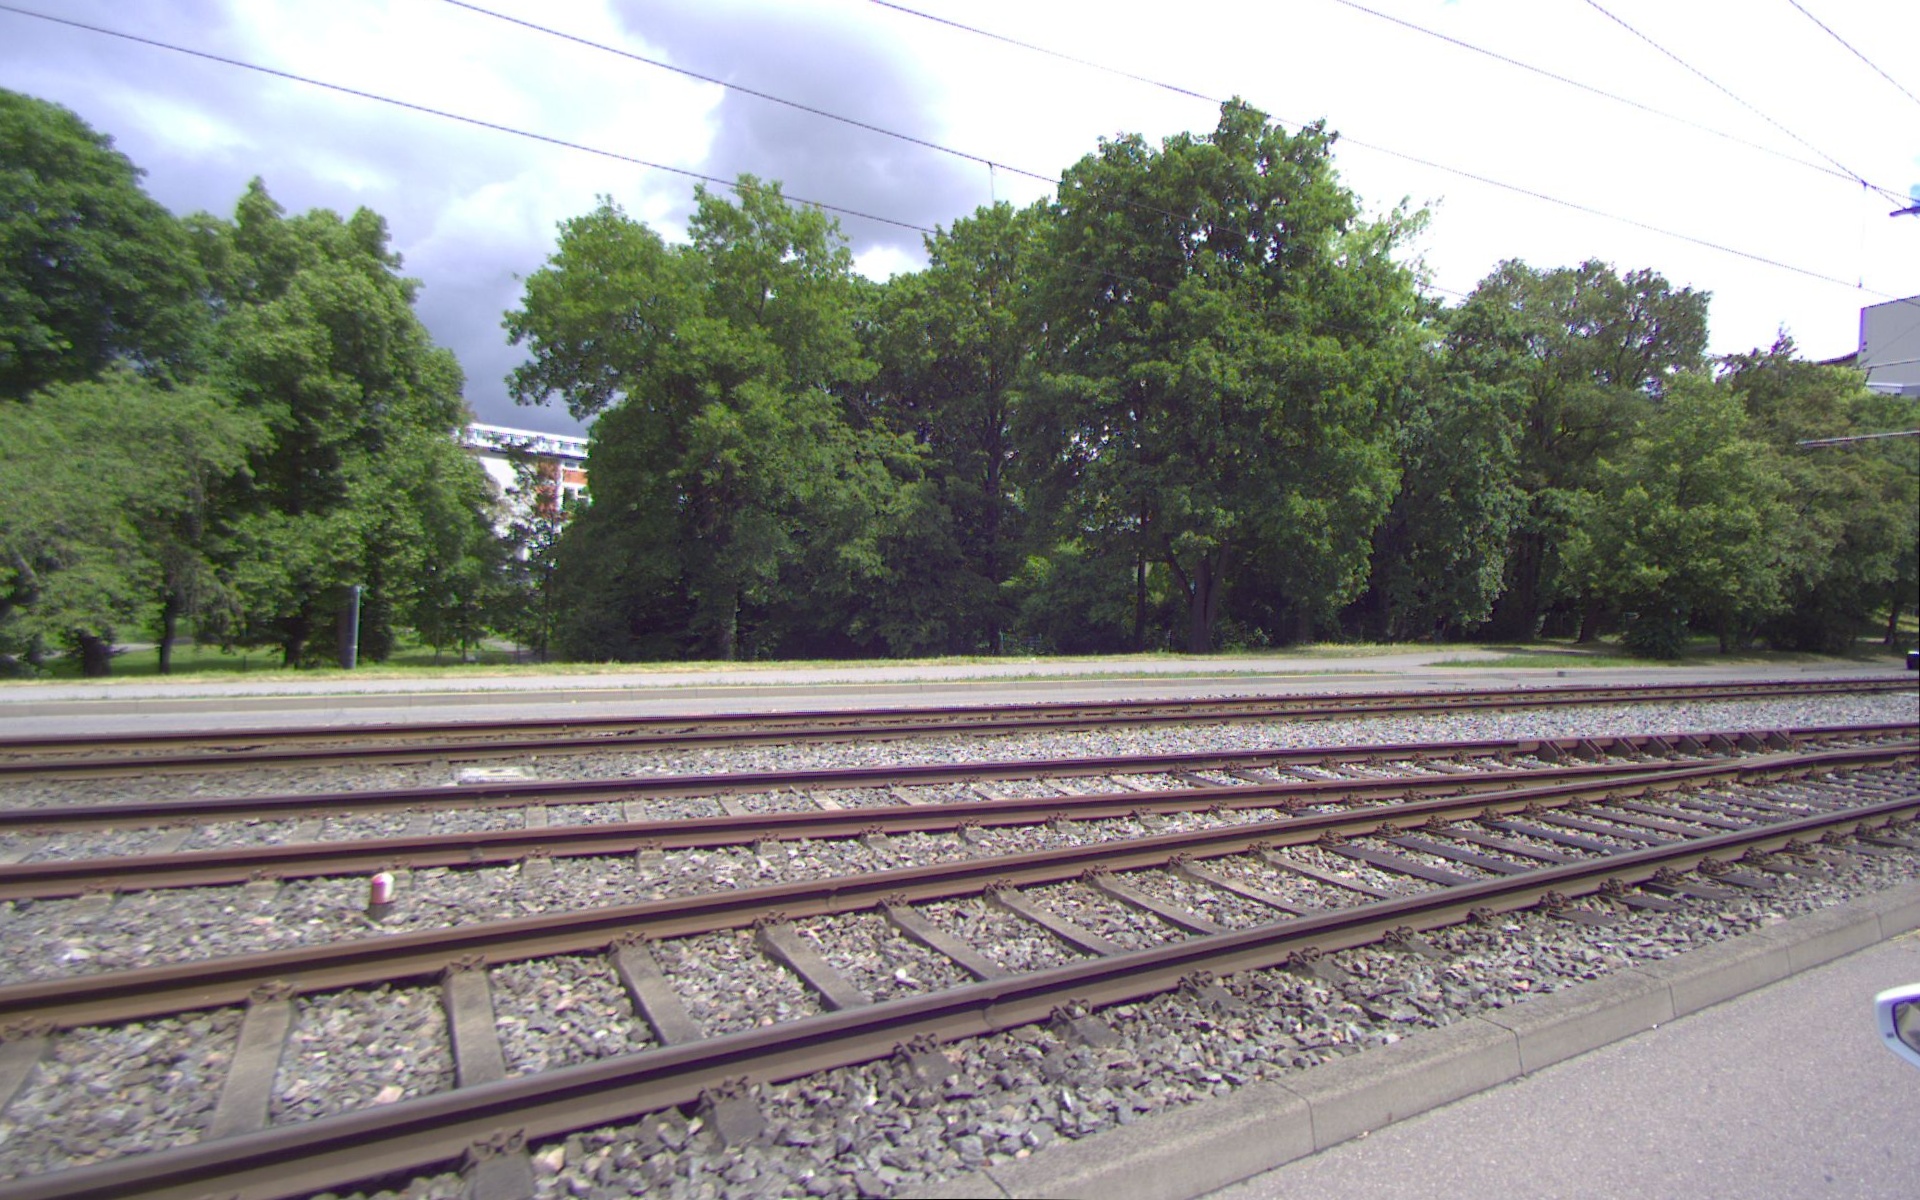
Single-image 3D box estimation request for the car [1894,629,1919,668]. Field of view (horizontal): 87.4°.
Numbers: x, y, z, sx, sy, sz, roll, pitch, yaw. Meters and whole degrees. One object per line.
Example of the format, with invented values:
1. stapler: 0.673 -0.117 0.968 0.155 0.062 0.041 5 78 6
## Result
1. car: 36.811 1.780 37.290 4.805 1.409 1.827 1 -2 -31
